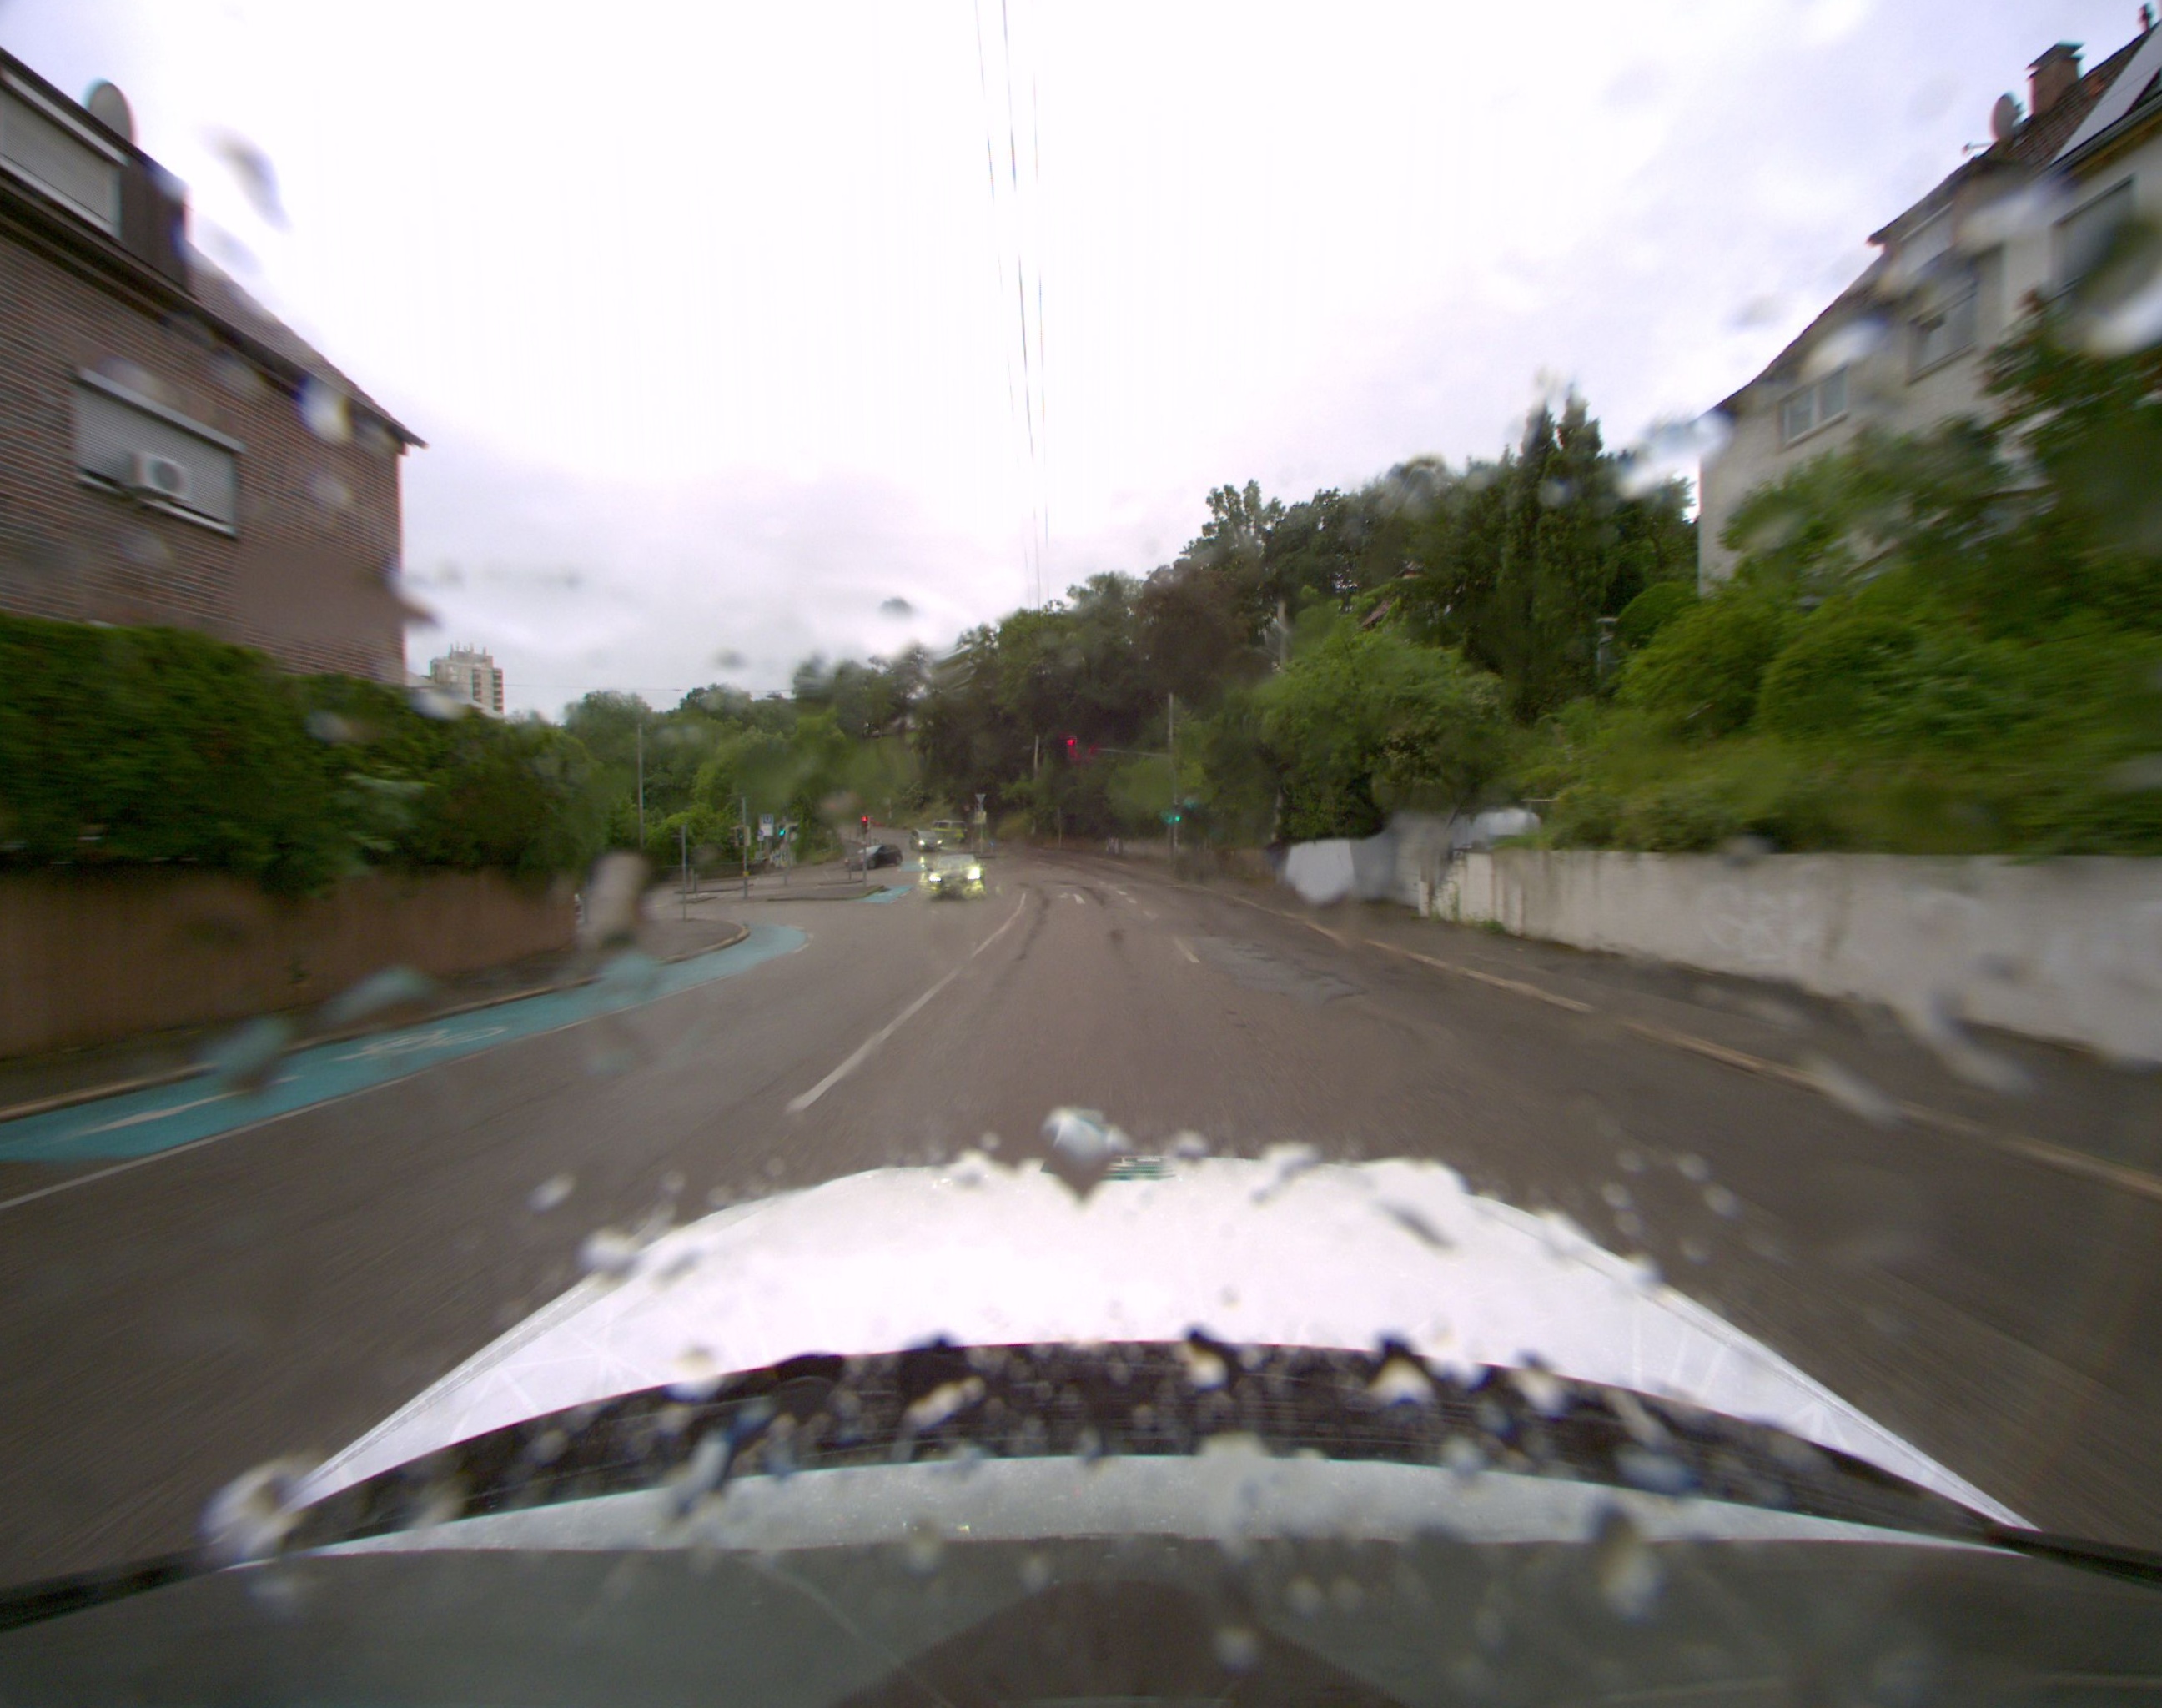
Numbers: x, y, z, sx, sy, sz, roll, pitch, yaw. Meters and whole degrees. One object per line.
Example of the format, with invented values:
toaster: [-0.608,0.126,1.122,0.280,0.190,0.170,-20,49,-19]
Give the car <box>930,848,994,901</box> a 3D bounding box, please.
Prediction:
car: [-4.069,0.642,28.404,1.737,1.550,3.996,-4,1,-3]

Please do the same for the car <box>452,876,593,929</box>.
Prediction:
car: [-22.150,1.897,32.405,4.131,1.673,2.003,-3,4,4]

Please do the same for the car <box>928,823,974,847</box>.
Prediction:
car: [-11.796,-1.732,73.895,2.327,1.939,4.278,-5,4,-36]

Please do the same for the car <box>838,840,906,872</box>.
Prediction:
car: [-13.077,0.102,51.172,1.724,1.549,4.027,-1,5,31]

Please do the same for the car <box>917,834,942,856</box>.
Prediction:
car: [-12.082,-0.765,64.831,1.743,1.549,3.984,-4,3,-12]

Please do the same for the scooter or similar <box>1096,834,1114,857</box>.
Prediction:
scooter or similar: [1.638,-0.602,55.663,0.617,1.421,2.150,-3,5,-13]
